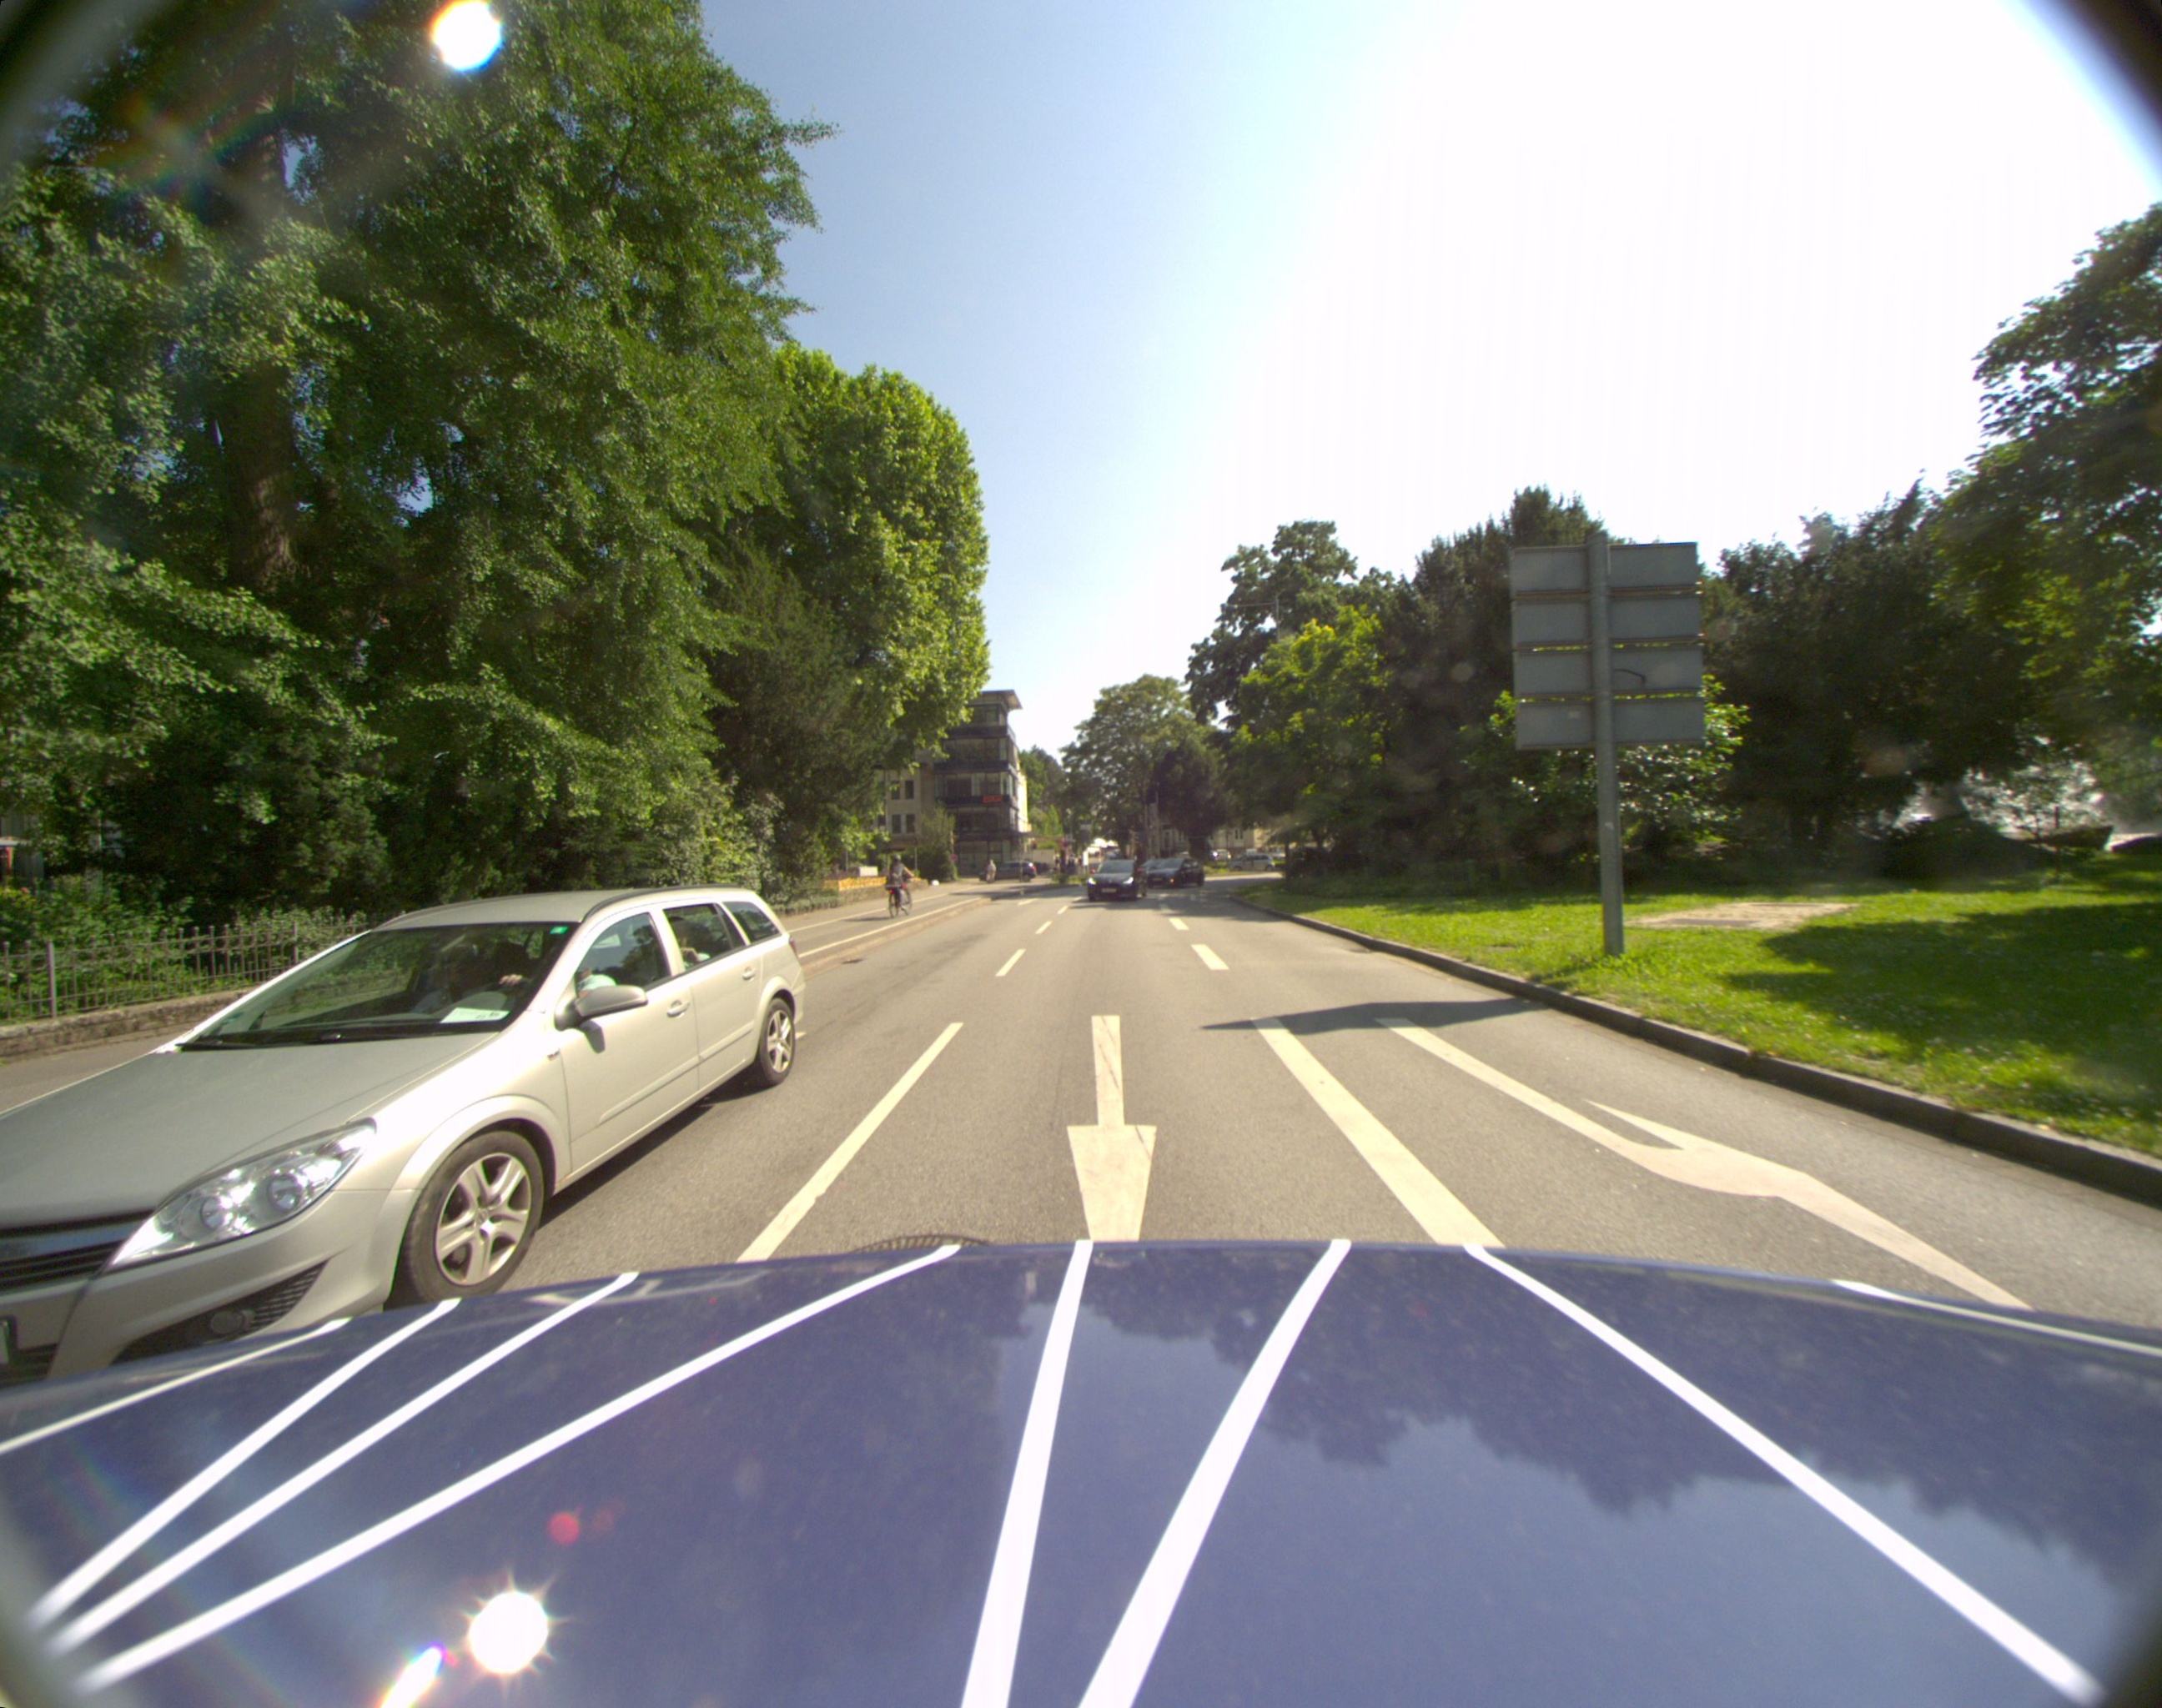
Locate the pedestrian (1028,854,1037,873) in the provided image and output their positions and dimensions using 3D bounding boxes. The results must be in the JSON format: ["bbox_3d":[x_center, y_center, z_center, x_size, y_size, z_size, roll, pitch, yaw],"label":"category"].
[{"bbox_3d":[-4.490,0.858,70.001,0.701,1.695,0.603,-2,0,3],"label":"pedestrian"}]

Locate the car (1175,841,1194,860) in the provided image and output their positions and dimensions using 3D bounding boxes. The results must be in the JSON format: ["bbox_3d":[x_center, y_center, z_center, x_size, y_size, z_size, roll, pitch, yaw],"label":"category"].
[{"bbox_3d":[11.986,-0.394,88.047,1.850,2.002,4.001,-2,0,4],"label":"car"}]

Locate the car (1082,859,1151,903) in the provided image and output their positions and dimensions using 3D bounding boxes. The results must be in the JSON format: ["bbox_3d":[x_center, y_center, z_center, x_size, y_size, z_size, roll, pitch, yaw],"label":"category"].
[{"bbox_3d":[1.394,0.941,28.122,1.808,1.443,3.958,-2,0,13],"label":"car"}]

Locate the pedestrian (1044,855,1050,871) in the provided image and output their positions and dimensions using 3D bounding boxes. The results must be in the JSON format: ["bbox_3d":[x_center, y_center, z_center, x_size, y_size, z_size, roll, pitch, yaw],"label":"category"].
[{"bbox_3d":[-3.692,0.993,82.761,0.602,1.695,0.604,-2,0,2],"label":"pedestrian"}]

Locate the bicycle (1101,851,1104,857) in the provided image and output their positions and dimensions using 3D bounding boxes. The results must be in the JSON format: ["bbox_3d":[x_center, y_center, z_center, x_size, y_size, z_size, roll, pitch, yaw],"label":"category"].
[{"bbox_3d":[4.395,-0.061,156.149,0.566,1.154,1.900,-2,0,6],"label":"bicycle"}]

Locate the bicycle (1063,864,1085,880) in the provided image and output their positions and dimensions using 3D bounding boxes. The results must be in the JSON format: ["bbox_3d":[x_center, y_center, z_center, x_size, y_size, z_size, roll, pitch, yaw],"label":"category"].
[{"bbox_3d":[-0.449,1.202,51.119,0.710,1.048,2.210,-2,0,19],"label":"bicycle"}]

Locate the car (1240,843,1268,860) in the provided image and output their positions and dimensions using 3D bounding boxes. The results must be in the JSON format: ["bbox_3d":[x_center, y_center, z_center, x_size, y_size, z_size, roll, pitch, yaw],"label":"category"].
[{"bbox_3d":[17.627,-0.250,77.636,1.851,1.652,3.999,-2,0,-2],"label":"car"}]

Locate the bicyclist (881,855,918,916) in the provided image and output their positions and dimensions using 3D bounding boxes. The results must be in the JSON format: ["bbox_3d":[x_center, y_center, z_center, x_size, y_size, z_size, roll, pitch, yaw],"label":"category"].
[{"bbox_3d":[-4.997,0.847,21.013,0.766,1.626,0.943,-1,1,-1],"label":"bicyclist"}]

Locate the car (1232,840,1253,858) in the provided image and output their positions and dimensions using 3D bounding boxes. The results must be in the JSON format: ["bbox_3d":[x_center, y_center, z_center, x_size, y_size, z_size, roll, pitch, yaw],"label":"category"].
[{"bbox_3d":[18.922,-0.548,89.162,1.850,2.002,4.001,-2,0,4],"label":"car"}]

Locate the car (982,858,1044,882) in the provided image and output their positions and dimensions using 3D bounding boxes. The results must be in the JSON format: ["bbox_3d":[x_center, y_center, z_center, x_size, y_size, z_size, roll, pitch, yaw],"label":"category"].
[{"bbox_3d":[-5.051,1.190,56.590,4.417,1.545,1.684,-2,0,-4],"label":"car"}]

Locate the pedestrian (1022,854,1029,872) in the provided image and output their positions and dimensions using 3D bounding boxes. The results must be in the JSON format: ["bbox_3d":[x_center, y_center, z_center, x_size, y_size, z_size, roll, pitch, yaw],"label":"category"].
[{"bbox_3d":[-5.177,0.841,70.958,0.604,1.695,0.690,-2,0,-3],"label":"pedestrian"}]

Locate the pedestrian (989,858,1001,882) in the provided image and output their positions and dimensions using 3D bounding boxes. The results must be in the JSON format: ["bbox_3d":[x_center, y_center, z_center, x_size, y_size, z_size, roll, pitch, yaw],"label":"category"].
[{"bbox_3d":[-6.058,1.107,53.442,0.711,1.663,0.534,-2,0,-2],"label":"pedestrian"}]

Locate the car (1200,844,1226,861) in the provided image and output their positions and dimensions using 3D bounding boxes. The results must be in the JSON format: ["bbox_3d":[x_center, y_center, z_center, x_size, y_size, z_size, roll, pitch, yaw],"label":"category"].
[{"bbox_3d":[13.529,-0.168,78.010,1.851,1.652,3.999,-2,0,-2],"label":"car"}]

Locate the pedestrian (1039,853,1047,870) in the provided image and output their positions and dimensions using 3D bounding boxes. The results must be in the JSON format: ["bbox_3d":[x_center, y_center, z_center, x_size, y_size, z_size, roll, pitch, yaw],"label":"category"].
[{"bbox_3d":[-3.668,0.715,73.203,0.602,1.695,0.604,-2,0,7],"label":"pedestrian"}]

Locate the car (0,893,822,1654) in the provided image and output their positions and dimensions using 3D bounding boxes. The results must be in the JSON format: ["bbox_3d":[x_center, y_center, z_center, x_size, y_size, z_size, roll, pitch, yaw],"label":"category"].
[{"bbox_3d":[-3.001,1.081,3.909,1.711,1.513,4.407,-2,-1,1],"label":"car"}]

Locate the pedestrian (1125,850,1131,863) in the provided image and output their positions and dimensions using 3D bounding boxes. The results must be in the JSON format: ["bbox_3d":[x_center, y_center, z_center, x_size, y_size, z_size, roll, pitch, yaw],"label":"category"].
[{"bbox_3d":[5.891,0.311,95.258,0.602,1.695,0.604,-2,0,2],"label":"pedestrian"}]

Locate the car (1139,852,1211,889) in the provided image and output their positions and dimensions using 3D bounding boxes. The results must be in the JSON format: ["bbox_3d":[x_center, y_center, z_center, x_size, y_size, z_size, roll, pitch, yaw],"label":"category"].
[{"bbox_3d":[4.726,0.766,37.905,1.885,1.674,4.150,0,1,34],"label":"car"}]

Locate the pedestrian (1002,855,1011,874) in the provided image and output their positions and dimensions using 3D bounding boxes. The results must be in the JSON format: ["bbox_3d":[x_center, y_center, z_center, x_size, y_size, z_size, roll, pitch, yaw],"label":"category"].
[{"bbox_3d":[-6.799,0.955,69.380,0.653,1.695,0.646,-2,0,1],"label":"pedestrian"}]

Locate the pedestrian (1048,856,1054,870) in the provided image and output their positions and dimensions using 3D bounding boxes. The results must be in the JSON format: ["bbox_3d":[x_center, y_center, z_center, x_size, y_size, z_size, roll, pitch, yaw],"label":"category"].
[{"bbox_3d":[-3.442,0.995,87.893,0.602,1.587,0.604,-2,0,2],"label":"pedestrian"}]

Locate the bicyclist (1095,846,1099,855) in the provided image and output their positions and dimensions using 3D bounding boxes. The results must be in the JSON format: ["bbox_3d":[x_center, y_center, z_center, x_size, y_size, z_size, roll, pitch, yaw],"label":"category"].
[{"bbox_3d":[3.522,-0.727,165.722,0.573,2.002,0.907,-2,1,8],"label":"bicyclist"}]

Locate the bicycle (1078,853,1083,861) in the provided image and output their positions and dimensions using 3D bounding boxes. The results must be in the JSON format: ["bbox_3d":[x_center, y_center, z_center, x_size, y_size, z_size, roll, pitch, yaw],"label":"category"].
[{"bbox_3d":[-0.030,0.396,110.400,0.566,1.154,1.899,-2,0,2],"label":"bicycle"}]

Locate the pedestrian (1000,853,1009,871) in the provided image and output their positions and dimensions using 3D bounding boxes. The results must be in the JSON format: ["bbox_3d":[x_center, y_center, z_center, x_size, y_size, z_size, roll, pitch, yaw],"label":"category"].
[{"bbox_3d":[-7.400,0.769,73.538,0.602,1.695,0.604,-2,0,7],"label":"pedestrian"}]

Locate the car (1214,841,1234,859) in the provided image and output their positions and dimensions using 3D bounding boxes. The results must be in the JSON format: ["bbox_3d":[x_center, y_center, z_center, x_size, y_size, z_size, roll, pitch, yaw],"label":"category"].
[{"bbox_3d":[16.807,-0.506,89.423,1.850,2.002,4.001,-2,0,4],"label":"car"}]

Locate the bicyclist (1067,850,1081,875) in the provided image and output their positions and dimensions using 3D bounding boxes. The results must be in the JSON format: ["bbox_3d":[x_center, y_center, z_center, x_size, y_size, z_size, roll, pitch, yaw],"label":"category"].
[{"bbox_3d":[-0.454,0.574,51.170,0.710,1.603,0.733,-2,0,19],"label":"bicyclist"}]

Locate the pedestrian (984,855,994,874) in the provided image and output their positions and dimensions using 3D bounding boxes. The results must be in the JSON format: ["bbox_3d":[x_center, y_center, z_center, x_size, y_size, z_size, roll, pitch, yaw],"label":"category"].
[{"bbox_3d":[-8.427,0.954,69.546,0.690,1.695,0.602,-2,0,1],"label":"pedestrian"}]

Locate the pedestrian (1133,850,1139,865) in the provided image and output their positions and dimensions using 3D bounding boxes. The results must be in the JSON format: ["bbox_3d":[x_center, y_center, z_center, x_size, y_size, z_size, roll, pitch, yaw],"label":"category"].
[{"bbox_3d":[6.112,0.405,84.315,0.602,1.695,0.604,-2,0,2],"label":"pedestrian"}]

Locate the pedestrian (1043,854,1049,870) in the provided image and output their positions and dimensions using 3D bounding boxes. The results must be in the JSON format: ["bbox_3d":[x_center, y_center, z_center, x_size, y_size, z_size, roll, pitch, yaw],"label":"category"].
[{"bbox_3d":[-3.695,0.848,80.386,0.602,1.695,0.604,-2,0,2],"label":"pedestrian"}]

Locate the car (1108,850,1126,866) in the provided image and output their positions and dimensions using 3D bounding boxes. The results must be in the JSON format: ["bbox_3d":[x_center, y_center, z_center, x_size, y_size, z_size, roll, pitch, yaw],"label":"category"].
[{"bbox_3d":[4.127,0.418,87.960,1.850,1.777,4.000,2,1,1],"label":"car"}]

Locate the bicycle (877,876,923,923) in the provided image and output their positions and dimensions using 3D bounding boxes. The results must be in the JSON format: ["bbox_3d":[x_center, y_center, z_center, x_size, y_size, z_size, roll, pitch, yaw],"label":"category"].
[{"bbox_3d":[-4.950,1.229,20.949,0.759,1.114,2.001,-1,1,0],"label":"bicycle"}]

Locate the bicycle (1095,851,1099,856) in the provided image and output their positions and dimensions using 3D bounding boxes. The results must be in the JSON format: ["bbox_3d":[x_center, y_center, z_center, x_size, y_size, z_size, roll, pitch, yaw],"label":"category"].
[{"bbox_3d":[3.525,-0.140,165.680,0.566,1.154,1.900,-2,0,9],"label":"bicycle"}]

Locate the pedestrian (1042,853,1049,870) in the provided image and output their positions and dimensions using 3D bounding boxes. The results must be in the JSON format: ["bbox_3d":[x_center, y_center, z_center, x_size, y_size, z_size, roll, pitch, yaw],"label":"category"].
[{"bbox_3d":[-3.472,0.752,74.552,0.602,1.695,0.604,-2,0,7],"label":"pedestrian"}]

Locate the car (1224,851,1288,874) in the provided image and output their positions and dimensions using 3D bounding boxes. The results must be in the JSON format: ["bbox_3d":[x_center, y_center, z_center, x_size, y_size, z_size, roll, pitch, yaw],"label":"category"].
[{"bbox_3d":[13.320,0.611,58.004,4.417,1.545,1.684,-2,0,-4],"label":"car"}]
